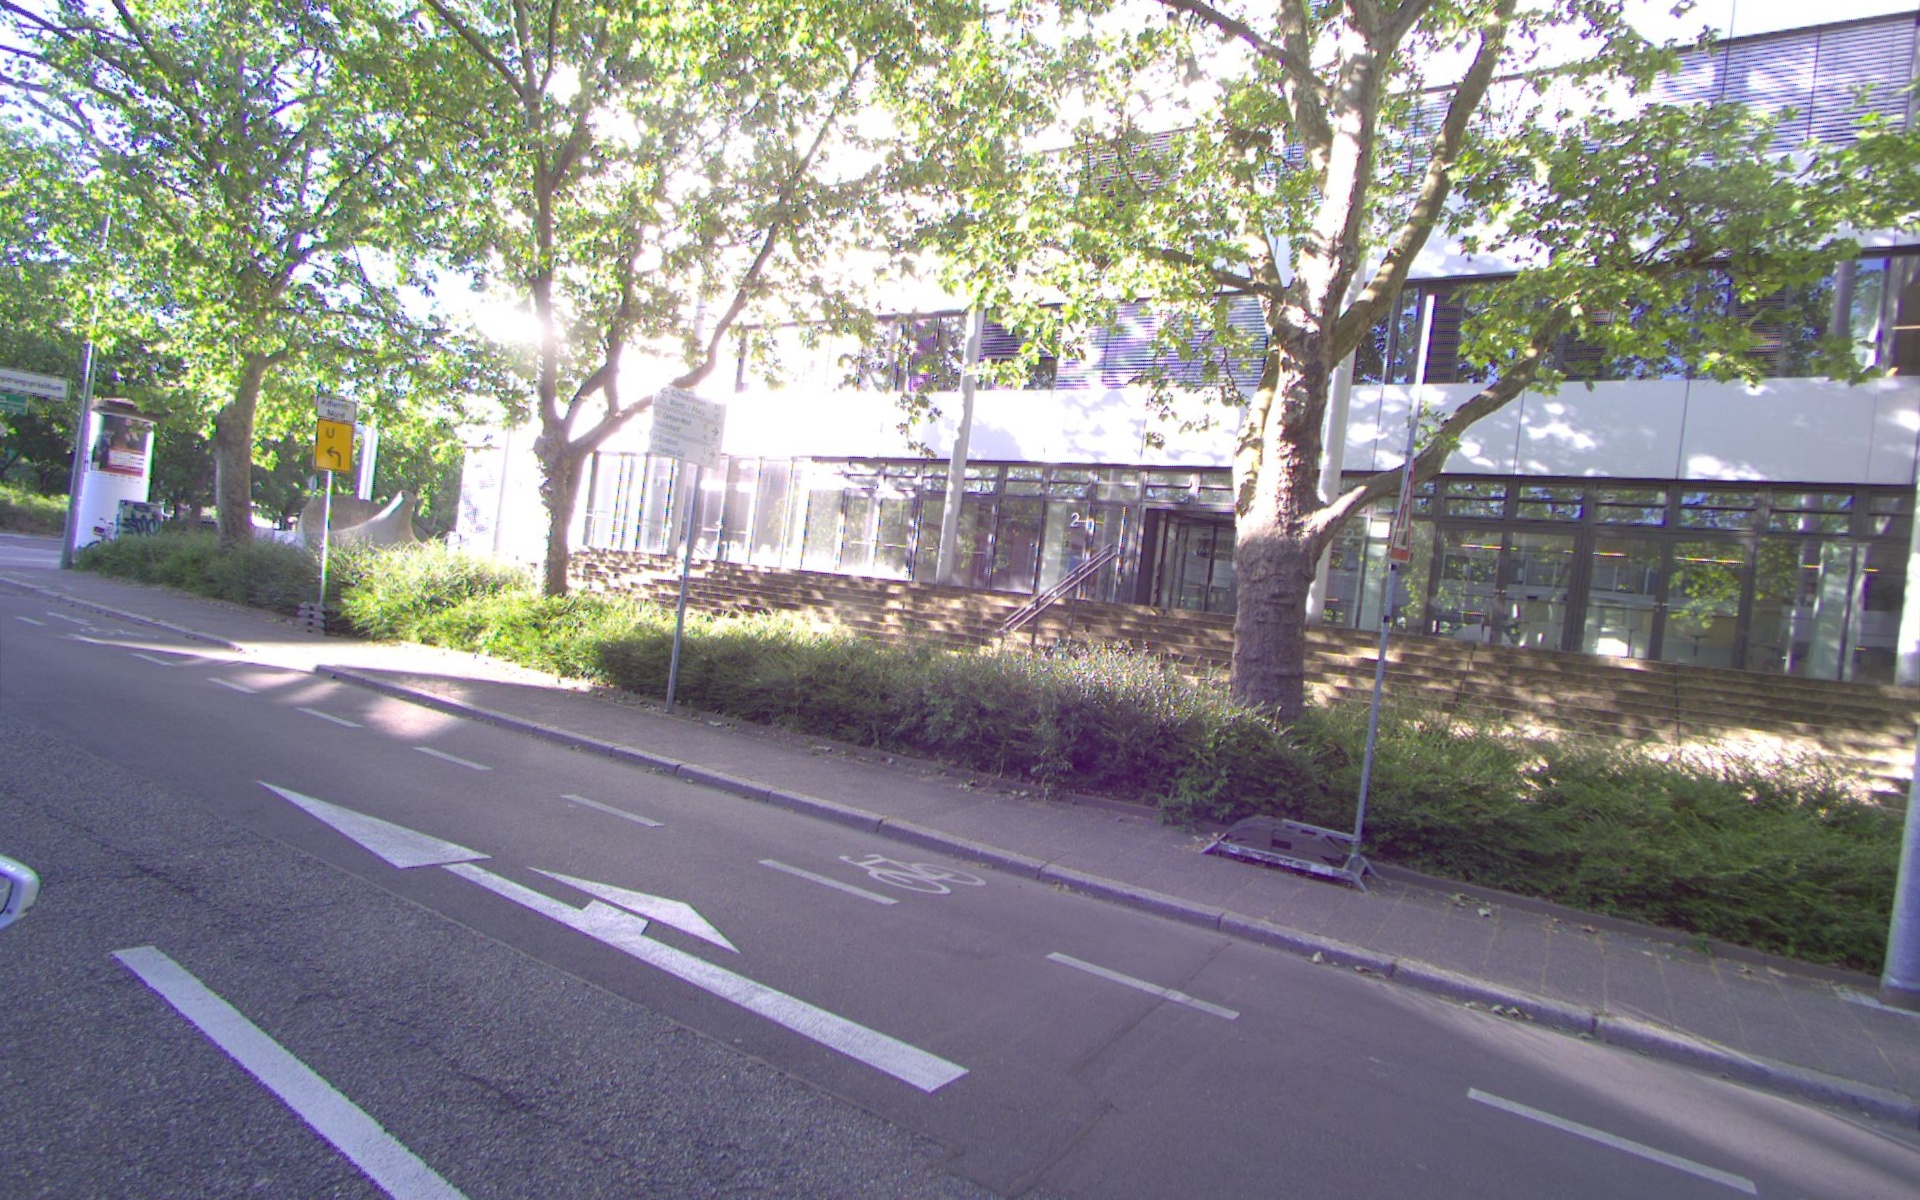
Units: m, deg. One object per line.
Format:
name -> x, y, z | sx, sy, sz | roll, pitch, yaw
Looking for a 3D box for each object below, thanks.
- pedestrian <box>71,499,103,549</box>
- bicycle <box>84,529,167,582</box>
pedestrian -> -31.084, -2.702, 35.812 | 0.674, 1.686, 0.628 | 7, 0, 42
bicycle -> -19.206, -1.013, 23.177 | 0.357, 1.036, 1.354 | 7, -1, 33
